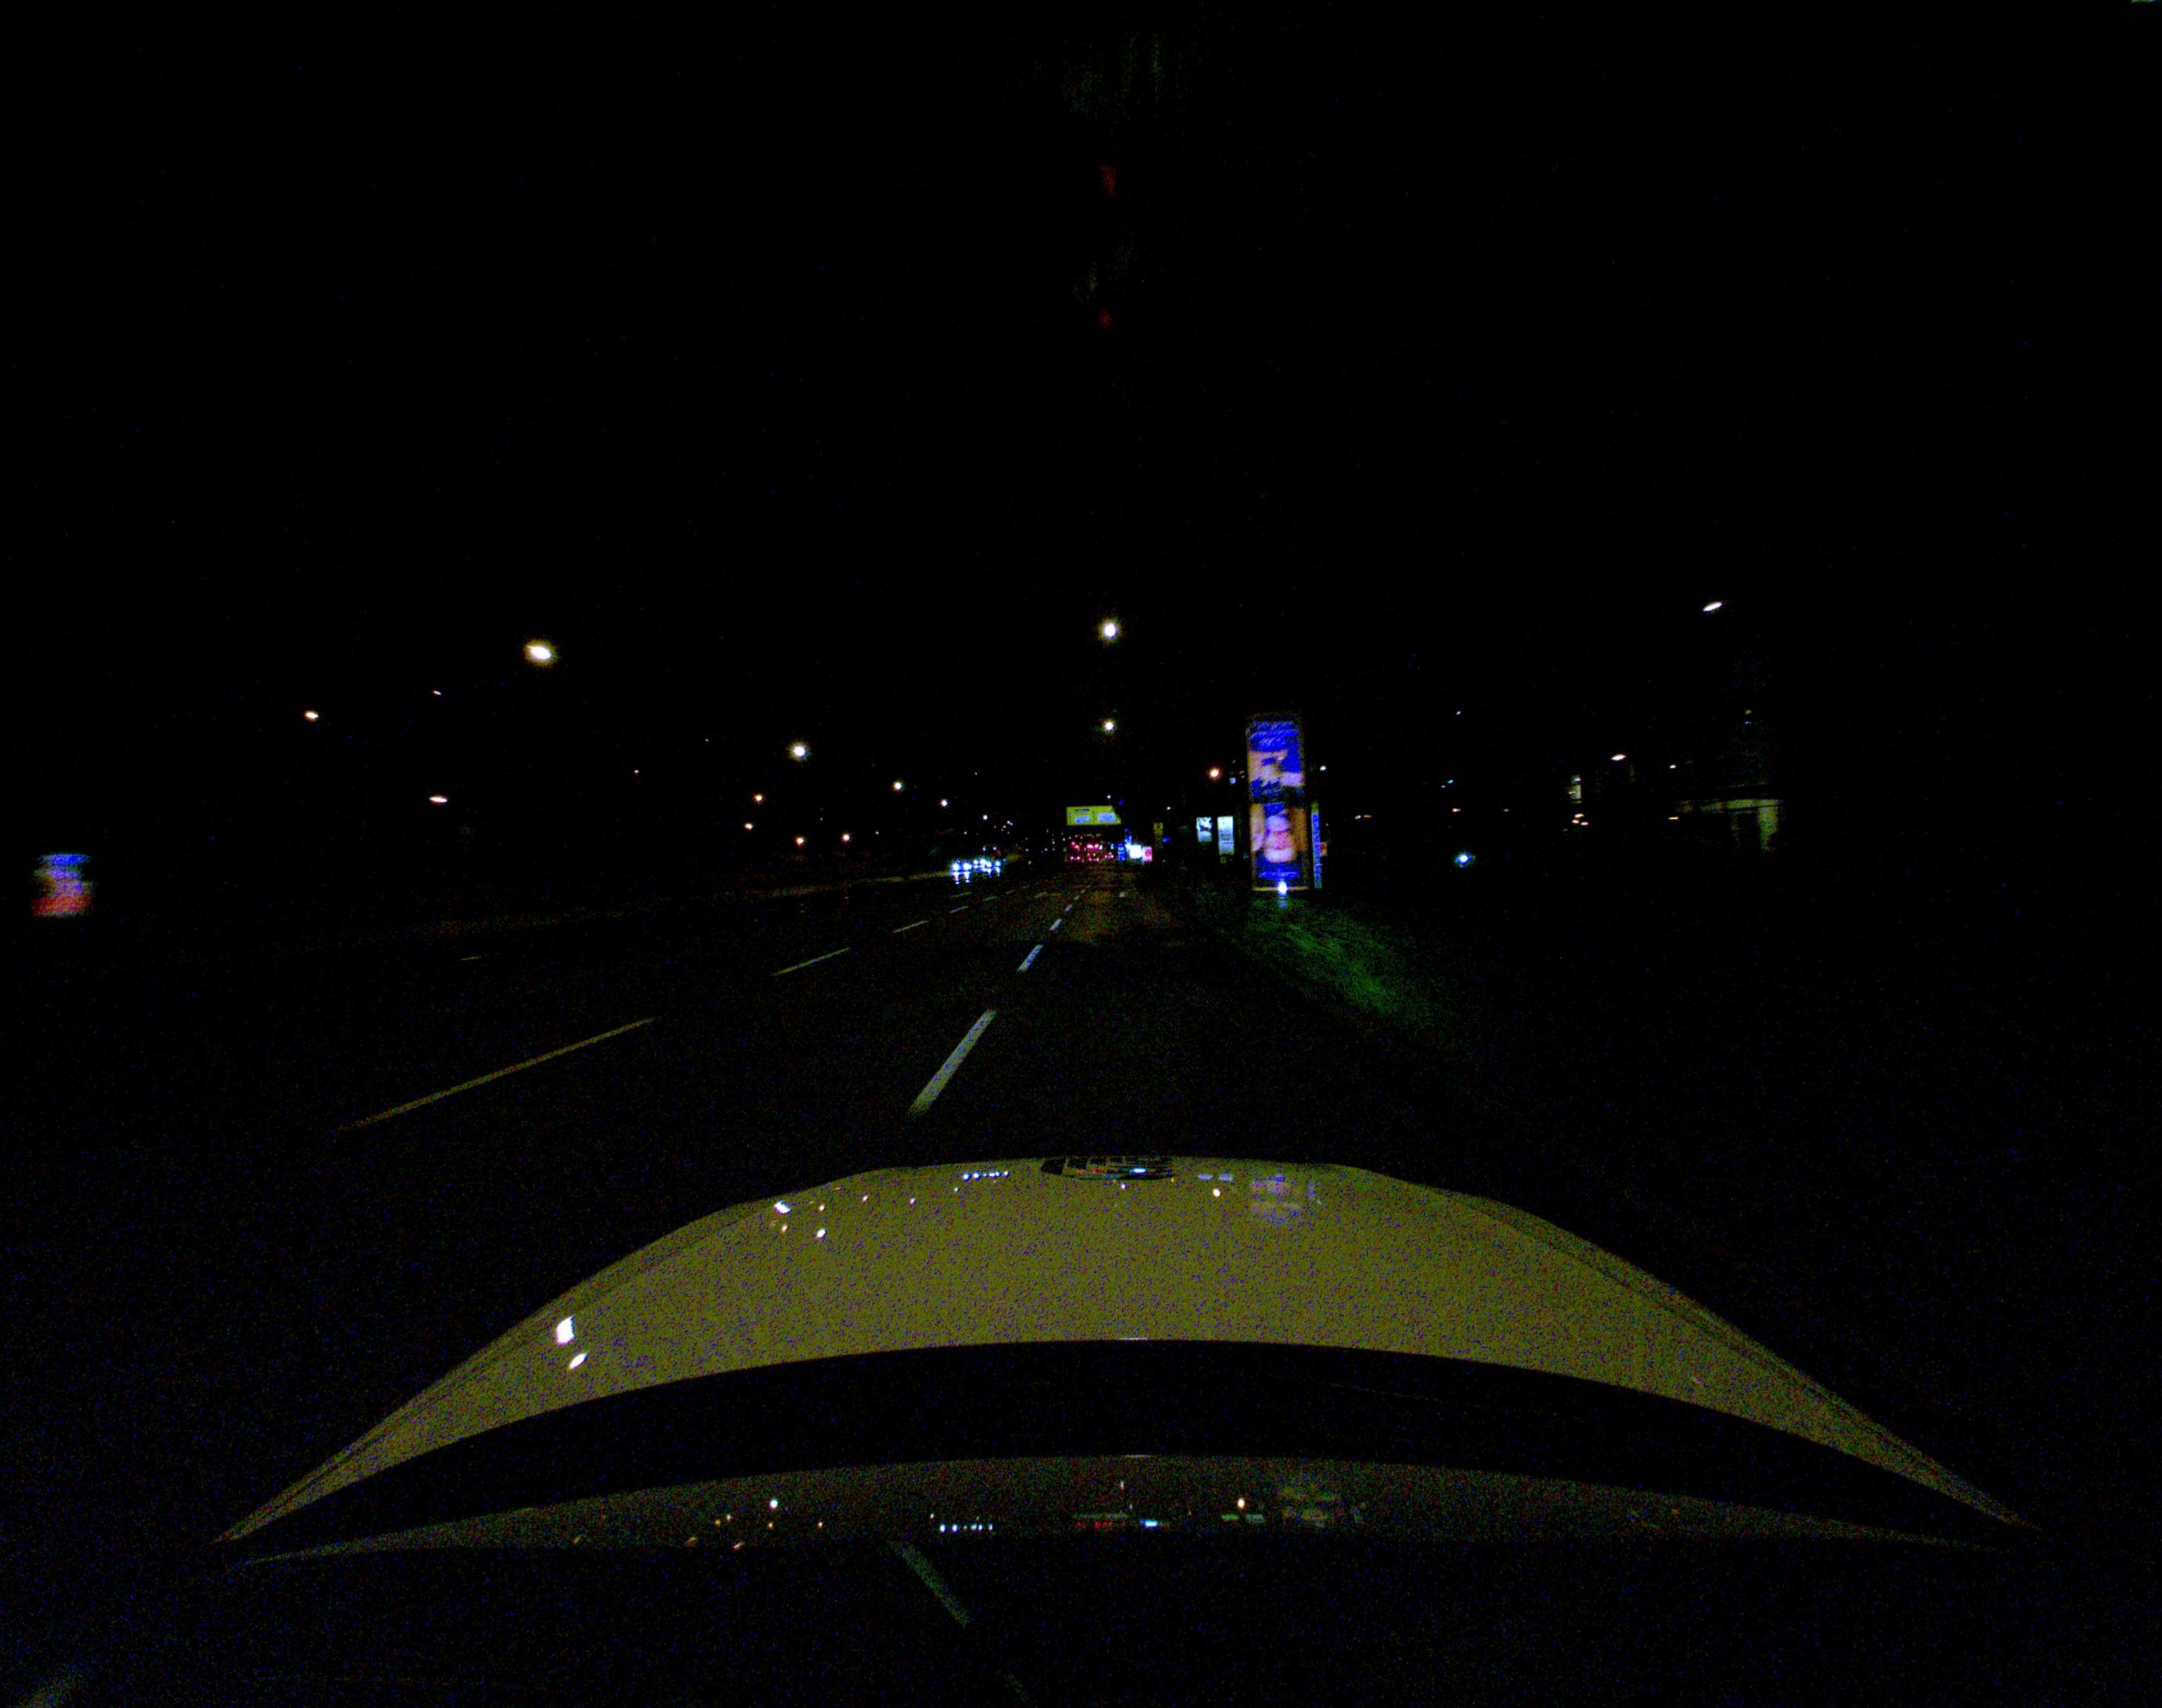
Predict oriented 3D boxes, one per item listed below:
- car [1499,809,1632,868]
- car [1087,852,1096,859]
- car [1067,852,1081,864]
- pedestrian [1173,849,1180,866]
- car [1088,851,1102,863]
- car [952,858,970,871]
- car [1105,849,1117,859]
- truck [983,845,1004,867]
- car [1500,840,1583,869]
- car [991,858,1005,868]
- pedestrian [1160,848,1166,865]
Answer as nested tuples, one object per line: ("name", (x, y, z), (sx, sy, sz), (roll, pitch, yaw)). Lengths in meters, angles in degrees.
("car", (16.387, -0.526, 27.555), (3.779, 1.862, 1.986), (-2, 1, -22))
("car", (2.444, 0.247, 191.097), (1.986, 1.553, 4.002), (-2, 0, 2))
("car", (-1.333, 0.754, 157.904), (2.252, 2.013, 4.833), (-1, 1, 5))
("pedestrian", (11.604, 0.465, 99.376), (0.759, 2.063, 0.644), (-1, 0, 2))
("car", (2.616, 0.624, 152.046), (2.345, 2.129, 4.833), (-1, 1, 5))
("car", (-16.725, 1.443, 113.800), (1.857, 1.750, 3.702), (-1, 1, 1))
("car", (6.781, 0.064, 182.351), (2.416, 2.113, 4.833), (-1, 1, 5))
("truck", (-15.868, 0.348, 148.490), (3.029, 3.819, 4.938), (-1, 1, 2))
("car", (18.991, 0.022, 33.568), (3.174, 1.085, 1.292), (-2, 1, -22))
("car", (-13.864, 1.483, 136.112), (1.904, 1.473, 3.773), (-1, 1, 1))
("pedestrian", (11.820, 0.323, 117.323), (0.741, 2.435, 0.780), (-1, 0, 4))
